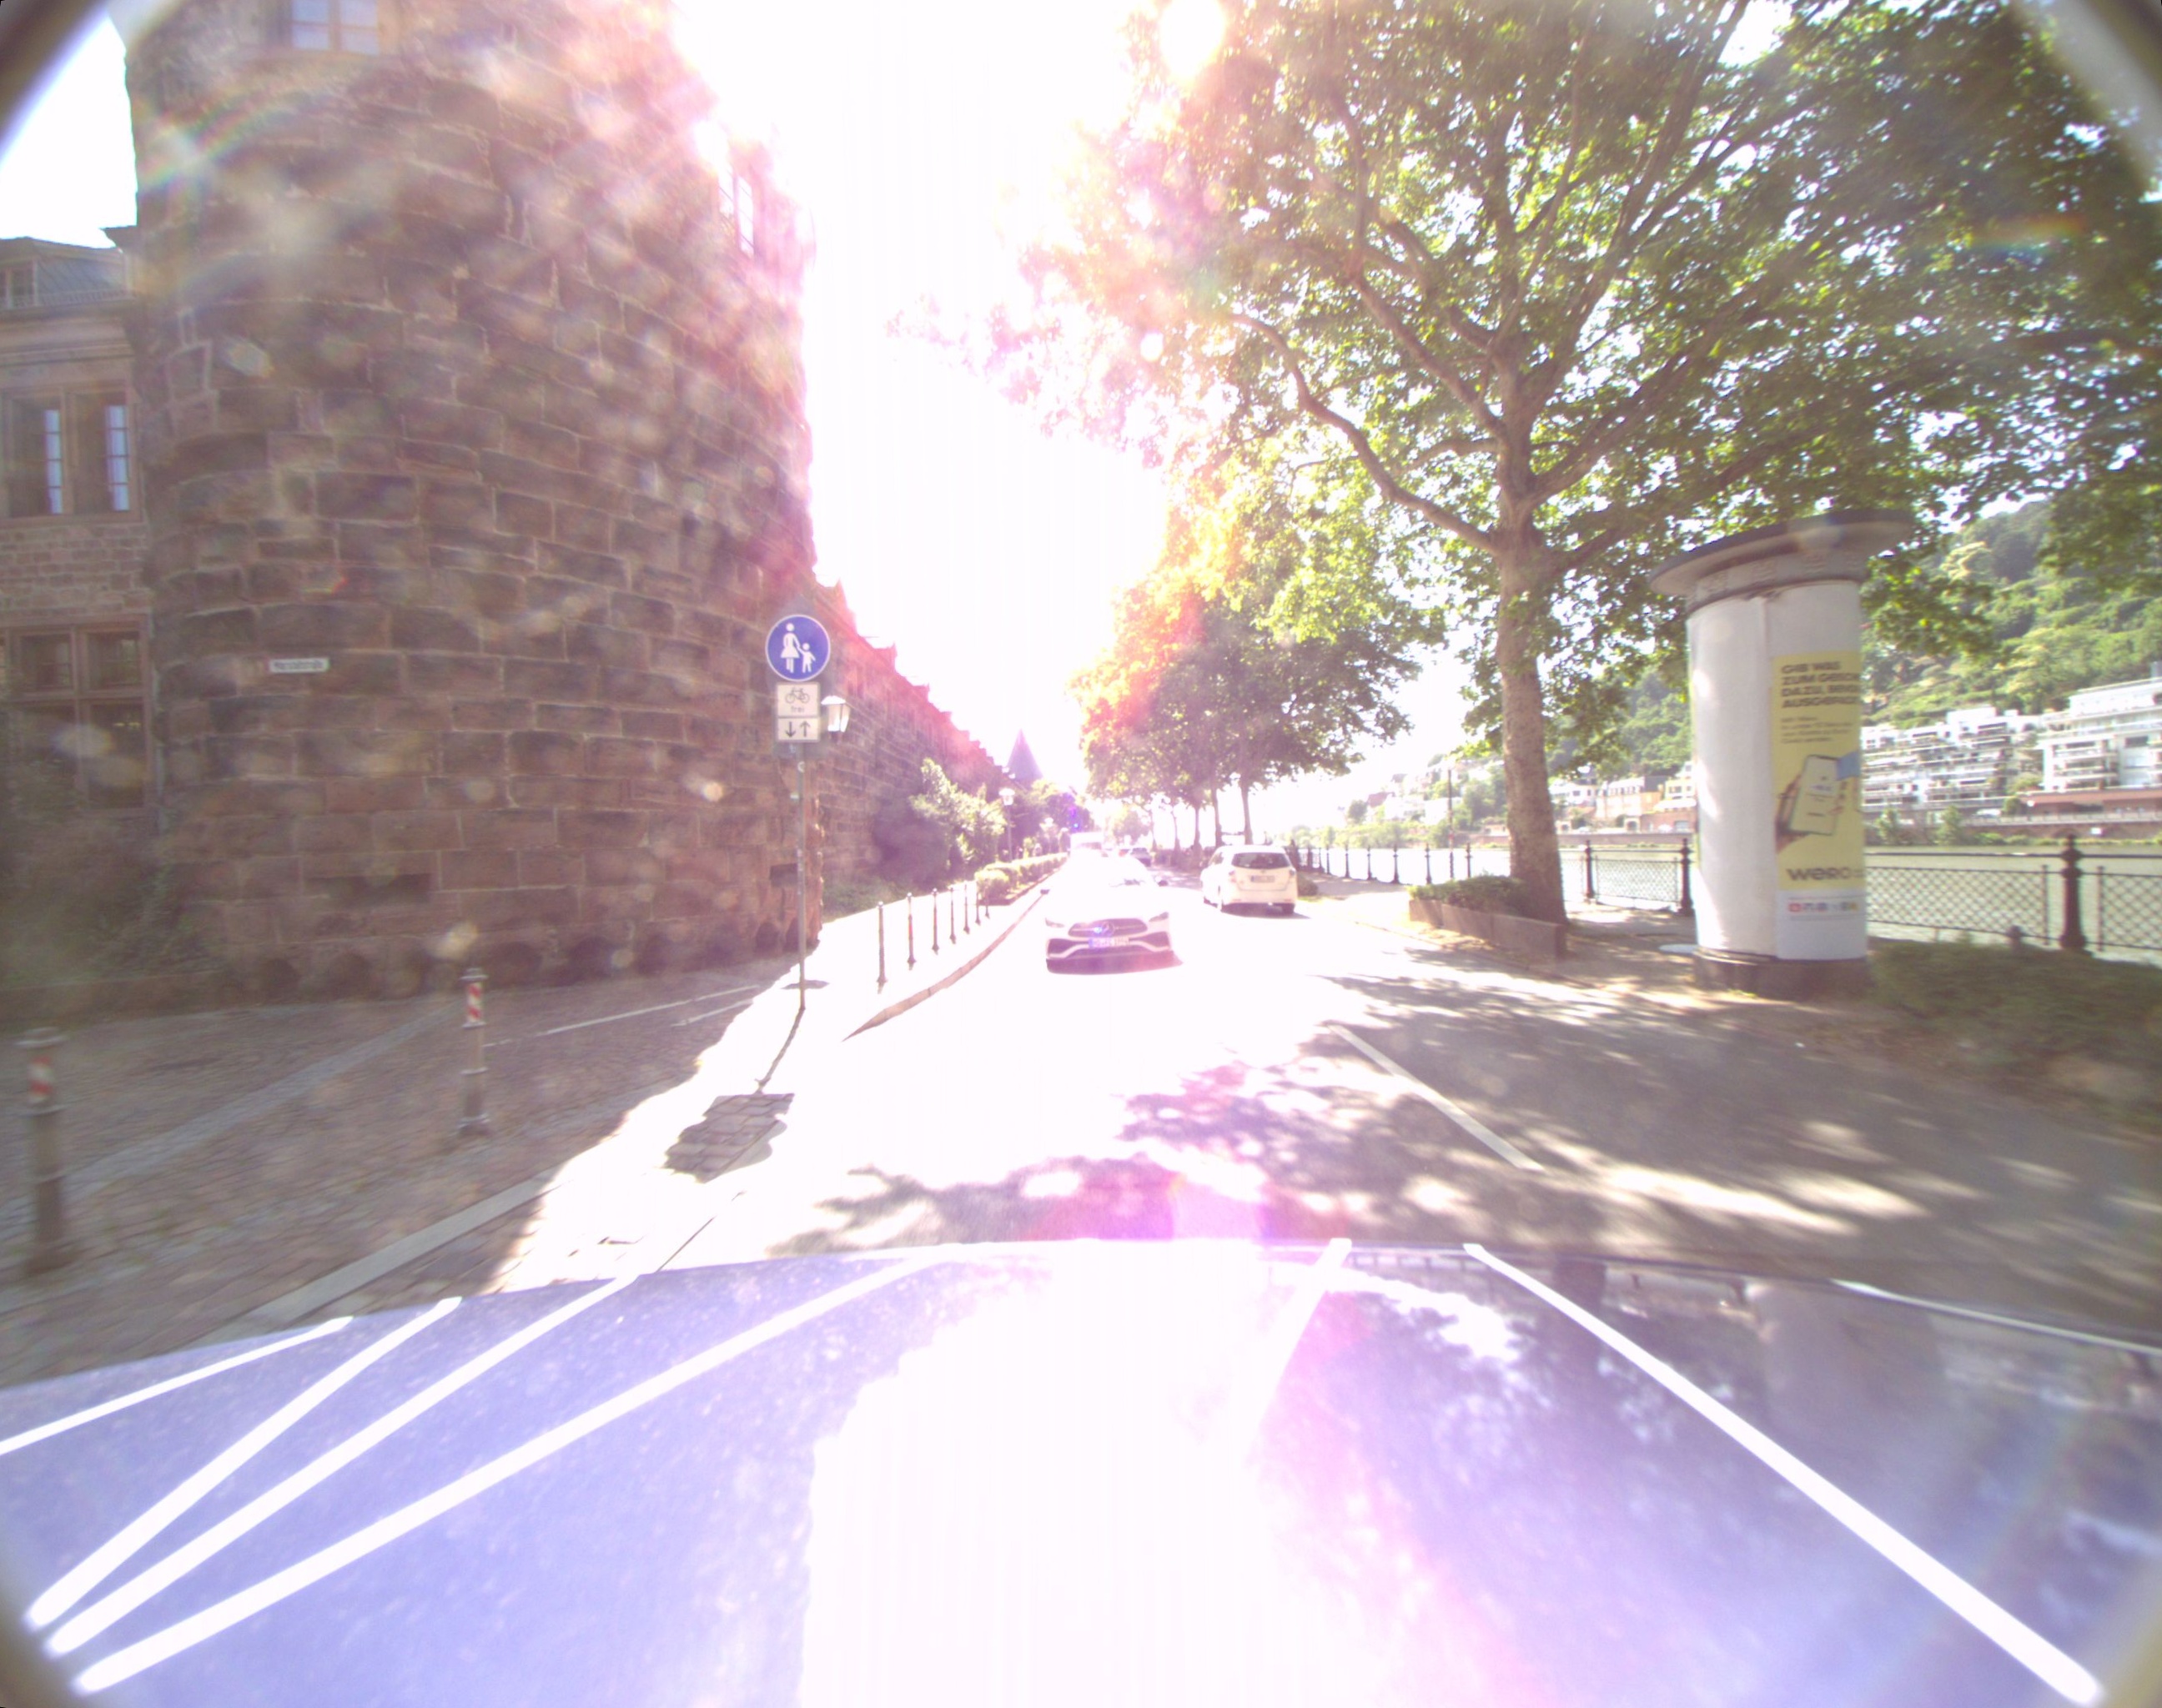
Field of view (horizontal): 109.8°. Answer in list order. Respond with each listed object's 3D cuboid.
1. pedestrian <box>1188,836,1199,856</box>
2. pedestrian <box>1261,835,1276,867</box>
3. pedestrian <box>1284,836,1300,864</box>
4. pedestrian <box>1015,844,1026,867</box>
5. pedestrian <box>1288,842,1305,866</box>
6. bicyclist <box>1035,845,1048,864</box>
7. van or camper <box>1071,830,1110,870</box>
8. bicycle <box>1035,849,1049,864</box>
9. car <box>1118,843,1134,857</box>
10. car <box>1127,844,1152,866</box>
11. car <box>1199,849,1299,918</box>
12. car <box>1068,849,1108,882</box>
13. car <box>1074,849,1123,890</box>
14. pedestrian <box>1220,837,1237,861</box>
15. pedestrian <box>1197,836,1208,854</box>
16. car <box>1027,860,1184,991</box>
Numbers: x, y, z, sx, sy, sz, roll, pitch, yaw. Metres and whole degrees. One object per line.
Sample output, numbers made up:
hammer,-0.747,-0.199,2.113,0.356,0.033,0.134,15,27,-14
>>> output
pedestrian,10.767,-0.748,72.871,0.806,1.839,0.929,-4,2,1
pedestrian,11.211,-0.209,45.447,0.767,1.890,0.771,-1,1,9
pedestrian,13.369,-0.266,48.160,0.777,1.748,0.830,-1,1,0
pedestrian,-4.293,0.101,53.929,0.643,1.555,0.563,-4,2,1
pedestrian,12.567,0.000,44.330,0.768,1.379,0.770,-1,1,0
bicyclist,-2.793,0.006,54.149,0.812,1.264,0.852,-4,2,0
van or camper,0.584,-0.267,47.194,2.313,2.358,5.034,-1,1,0
bicycle,-2.784,0.158,54.223,0.812,0.967,2.409,-4,2,0
car,5.165,-0.480,88.020,1.677,1.650,4.222,0,1,1
car,4.706,0.048,61.681,1.773,1.651,4.000,0,1,1
car,4.163,0.657,19.458,1.743,1.563,4.091,0,1,1
car,0.381,0.525,38.128,1.833,1.395,4.423,-4,1,1
car,0.719,0.572,31.437,1.833,1.428,4.269,-4,1,1
pedestrian,12.955,-0.452,66.544,1.047,2.002,1.036,-3,2,32
pedestrian,11.679,-0.865,73.305,0.897,1.625,1.059,-4,2,7
car,0.339,0.896,11.417,1.833,1.395,4.269,-4,1,1
